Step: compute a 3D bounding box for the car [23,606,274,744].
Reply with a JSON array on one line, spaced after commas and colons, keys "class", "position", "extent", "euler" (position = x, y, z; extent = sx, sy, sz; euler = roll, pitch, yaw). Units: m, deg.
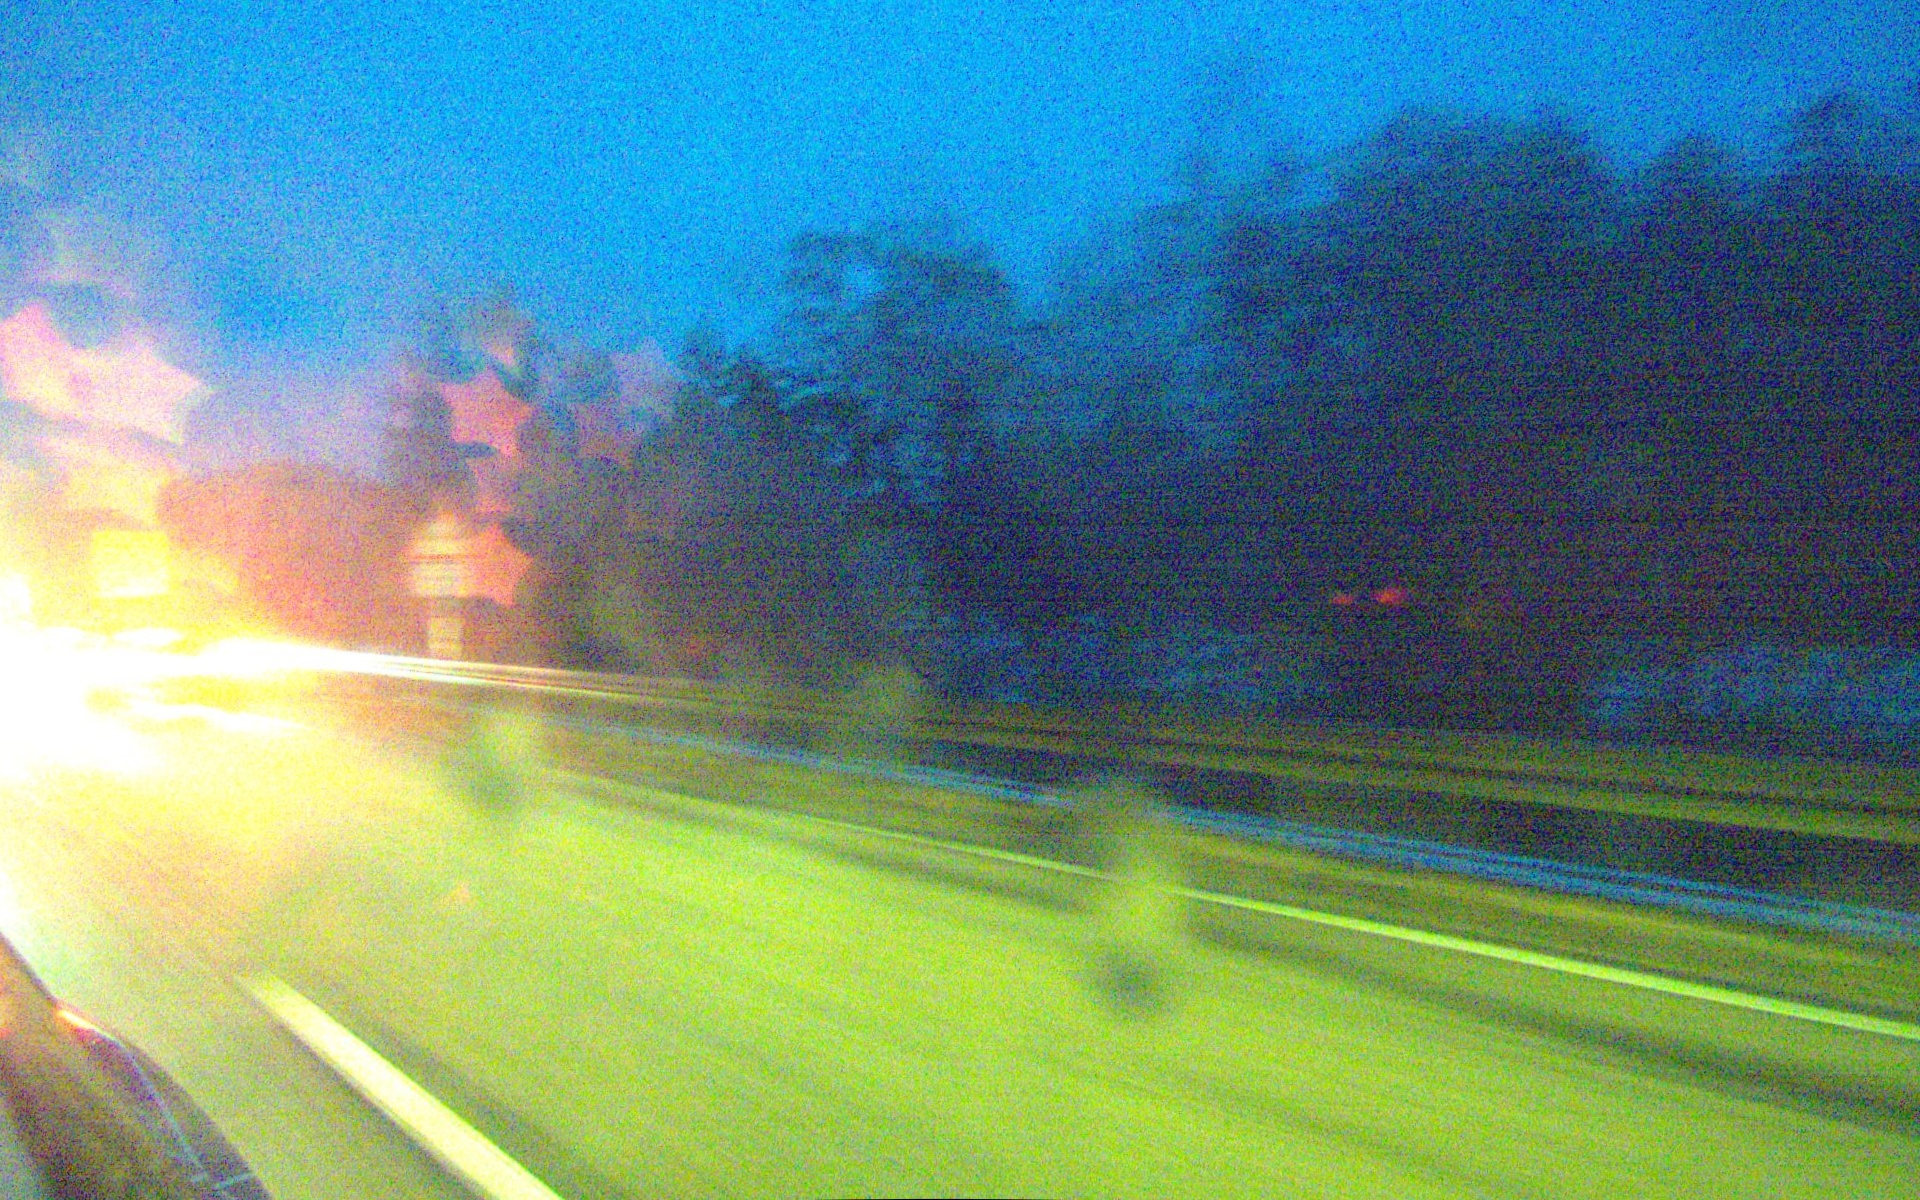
[{"class": "car", "position": [-10.967, 0.877, 13.562], "extent": [4.281, 1.472, 1.955], "euler": [-1, 1, 42]}]
